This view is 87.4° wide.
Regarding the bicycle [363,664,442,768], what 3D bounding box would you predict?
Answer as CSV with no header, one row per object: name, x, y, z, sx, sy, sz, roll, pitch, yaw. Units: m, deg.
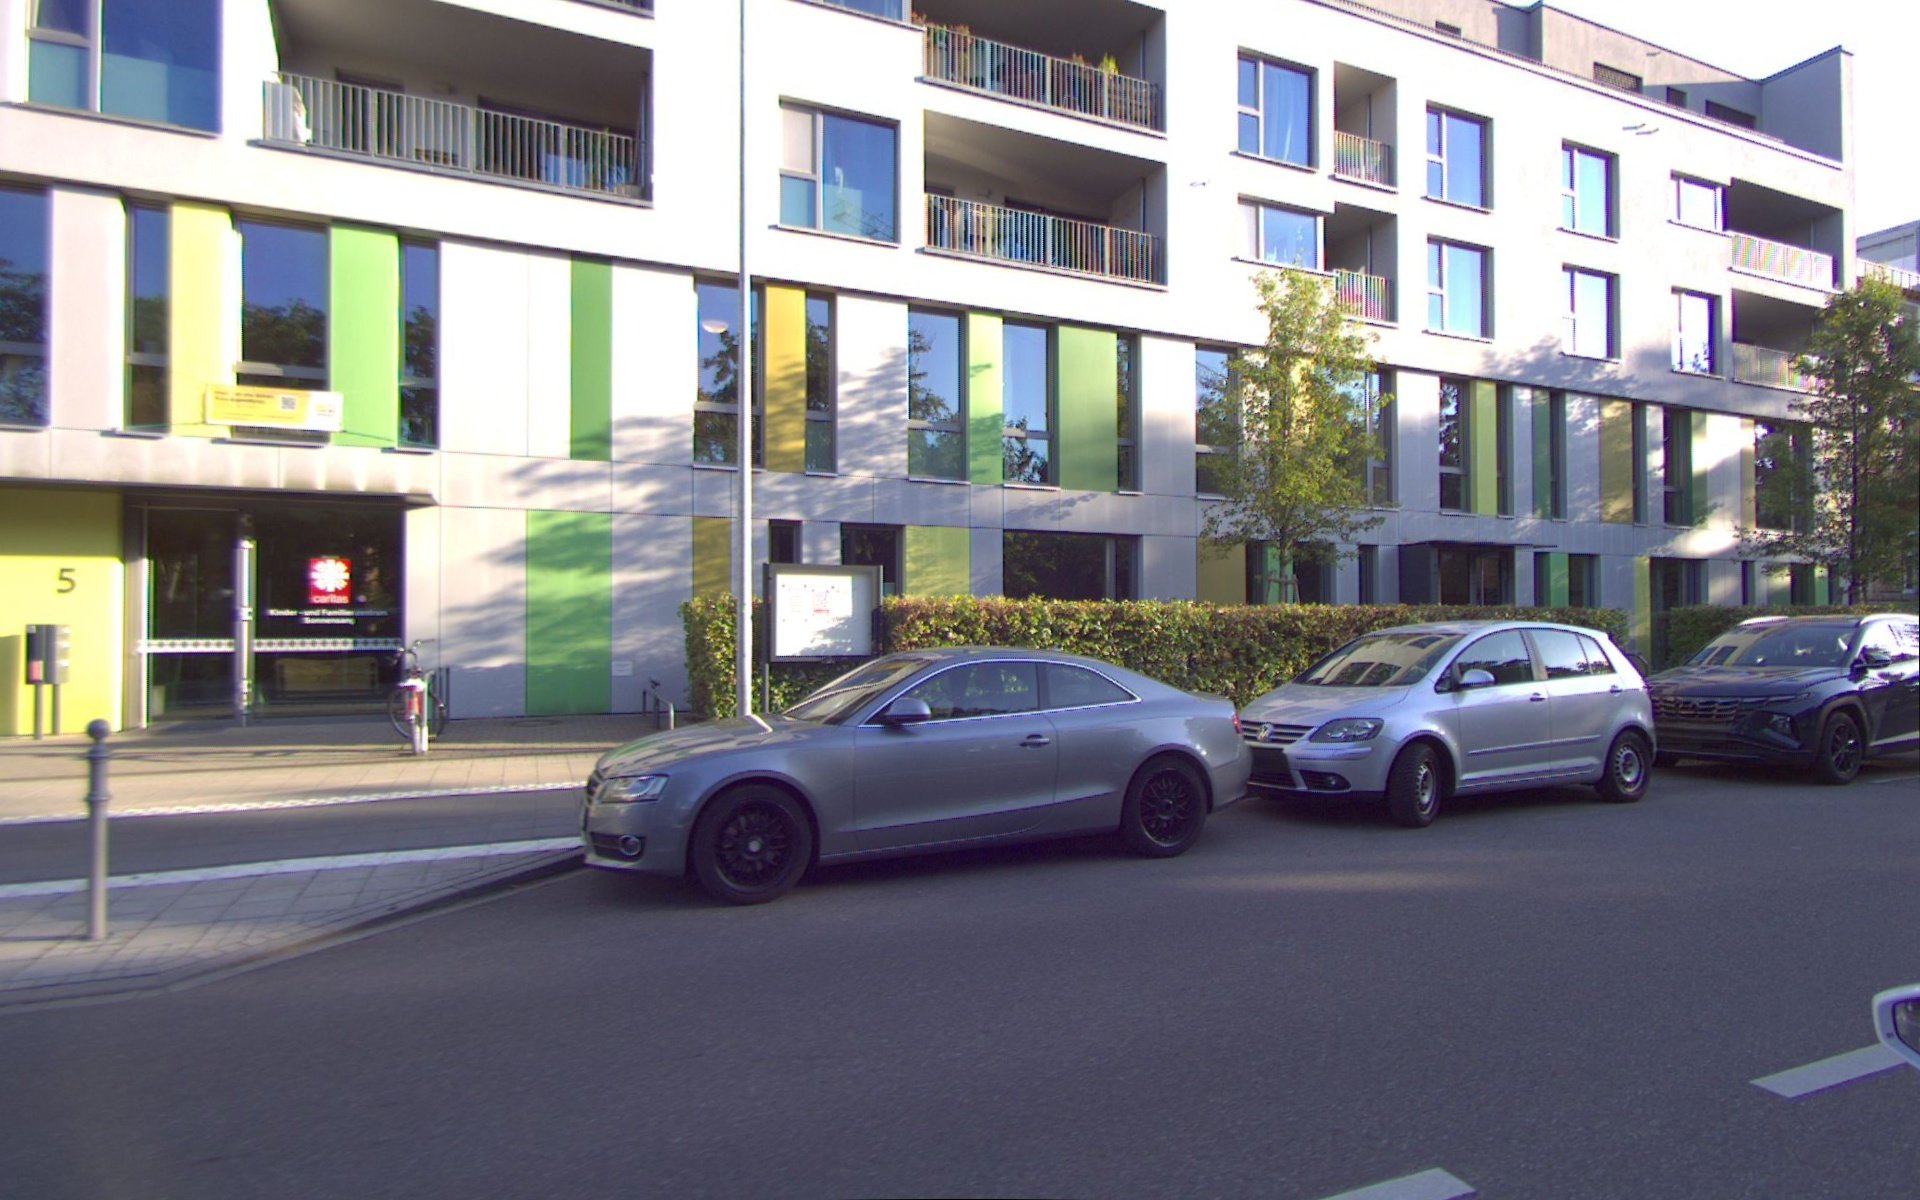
bicycle,-6.026,1.216,10.928,0.609,0.930,1.746,0,0,-24

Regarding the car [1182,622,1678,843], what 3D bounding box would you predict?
car,4.119,0.984,8.765,4.060,1.554,1.737,0,-2,-26

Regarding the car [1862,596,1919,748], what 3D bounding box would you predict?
car,14.107,0.887,13.197,4.180,1.914,1.803,0,-2,-25

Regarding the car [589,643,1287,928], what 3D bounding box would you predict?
car,-0.126,0.996,6.701,4.334,1.374,1.738,0,-2,-24

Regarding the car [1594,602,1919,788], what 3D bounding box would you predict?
car,9.166,0.907,10.899,4.355,1.698,1.738,0,-3,-25
